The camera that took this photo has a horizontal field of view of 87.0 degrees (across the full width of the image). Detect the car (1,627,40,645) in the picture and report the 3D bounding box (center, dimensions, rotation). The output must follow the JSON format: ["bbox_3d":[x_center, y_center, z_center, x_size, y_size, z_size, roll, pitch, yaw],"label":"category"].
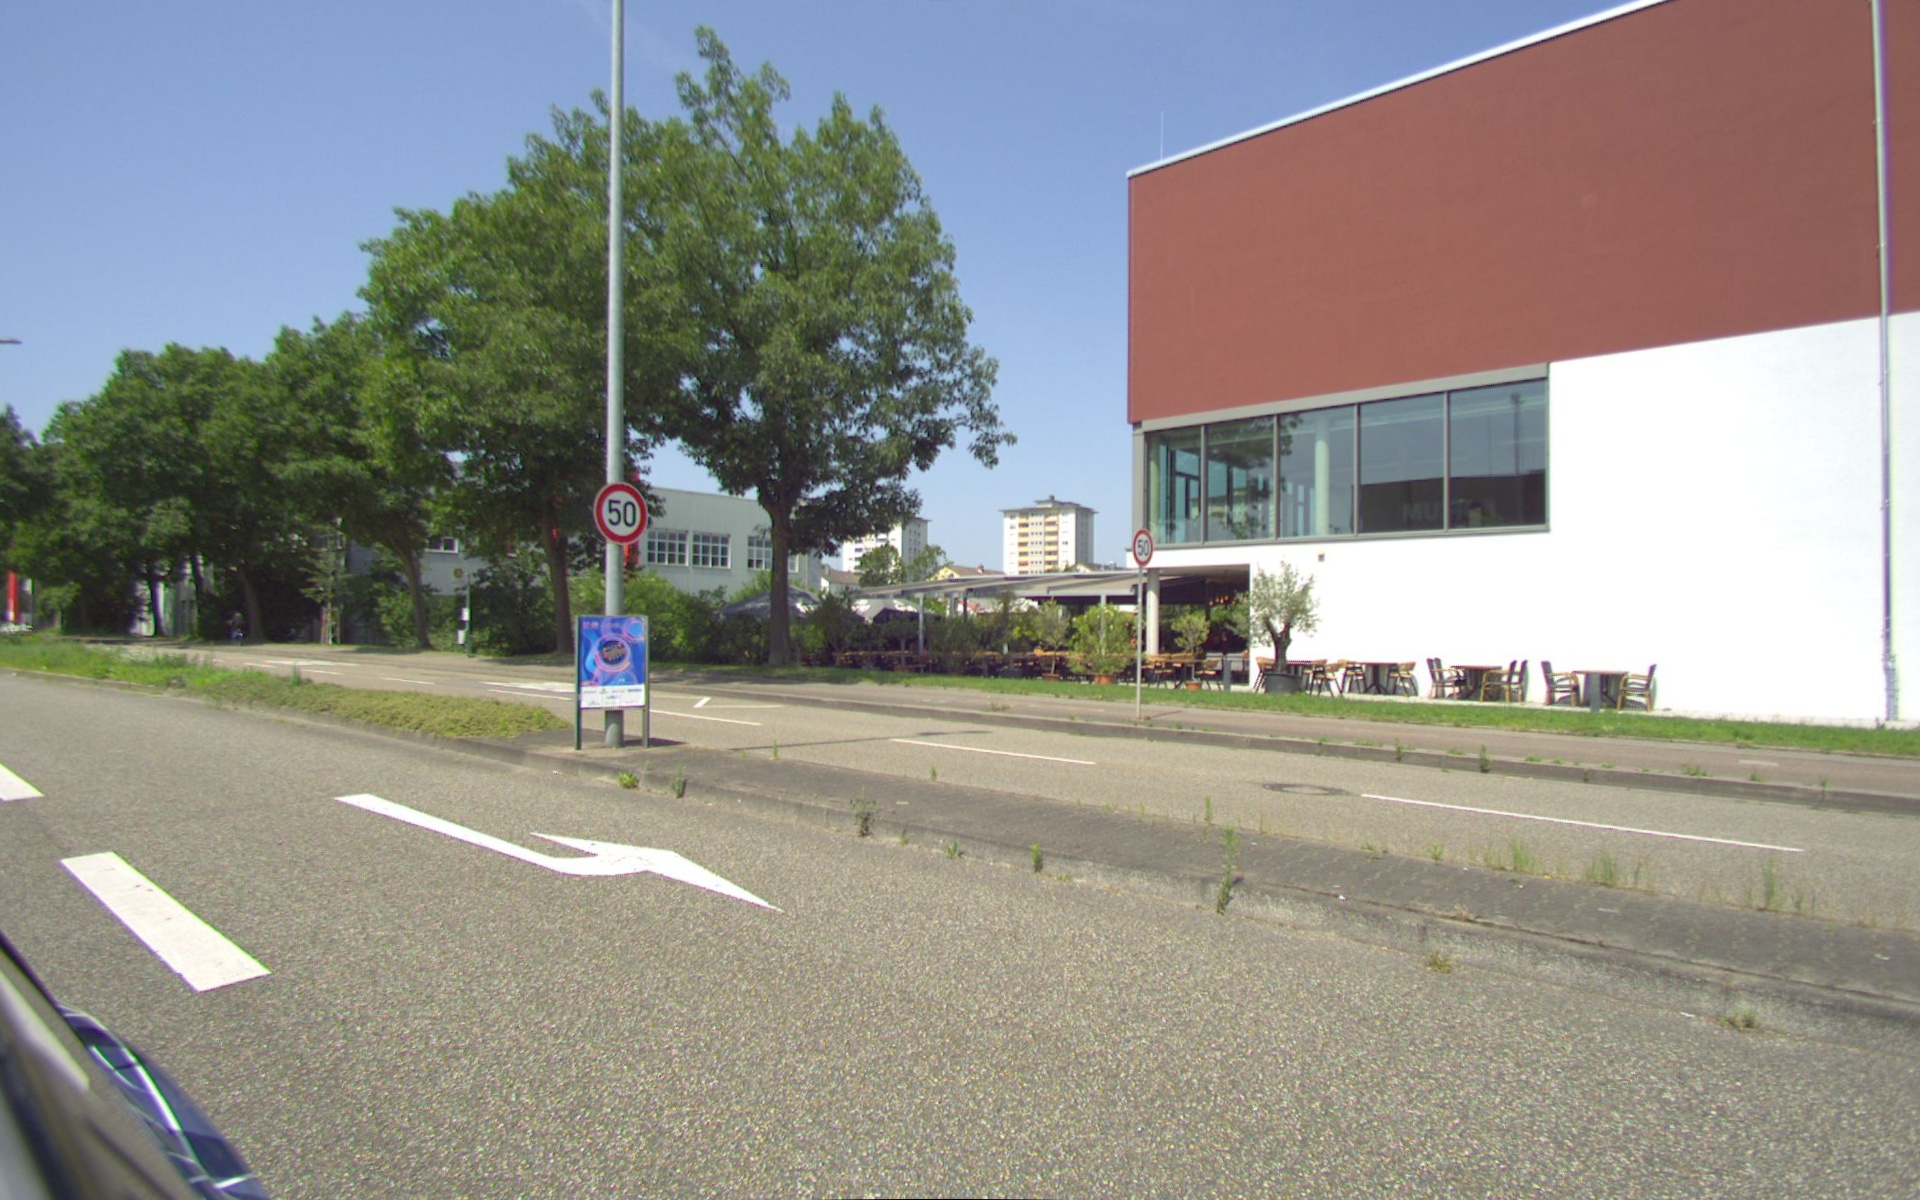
[{"bbox_3d":[-73.697,2.797,79.367,4.299,1.272,1.700,-1,-4,41],"label":"car"}]

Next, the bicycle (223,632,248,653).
[{"bbox_3d":[-37.684,2.178,52.618,1.884,1.059,0.648,-1,-2,42],"label":"bicycle"}]

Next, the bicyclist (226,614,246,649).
[{"bbox_3d":[-37.548,1.625,52.489,0.927,1.783,0.642,-1,-2,41],"label":"bicyclist"}]
